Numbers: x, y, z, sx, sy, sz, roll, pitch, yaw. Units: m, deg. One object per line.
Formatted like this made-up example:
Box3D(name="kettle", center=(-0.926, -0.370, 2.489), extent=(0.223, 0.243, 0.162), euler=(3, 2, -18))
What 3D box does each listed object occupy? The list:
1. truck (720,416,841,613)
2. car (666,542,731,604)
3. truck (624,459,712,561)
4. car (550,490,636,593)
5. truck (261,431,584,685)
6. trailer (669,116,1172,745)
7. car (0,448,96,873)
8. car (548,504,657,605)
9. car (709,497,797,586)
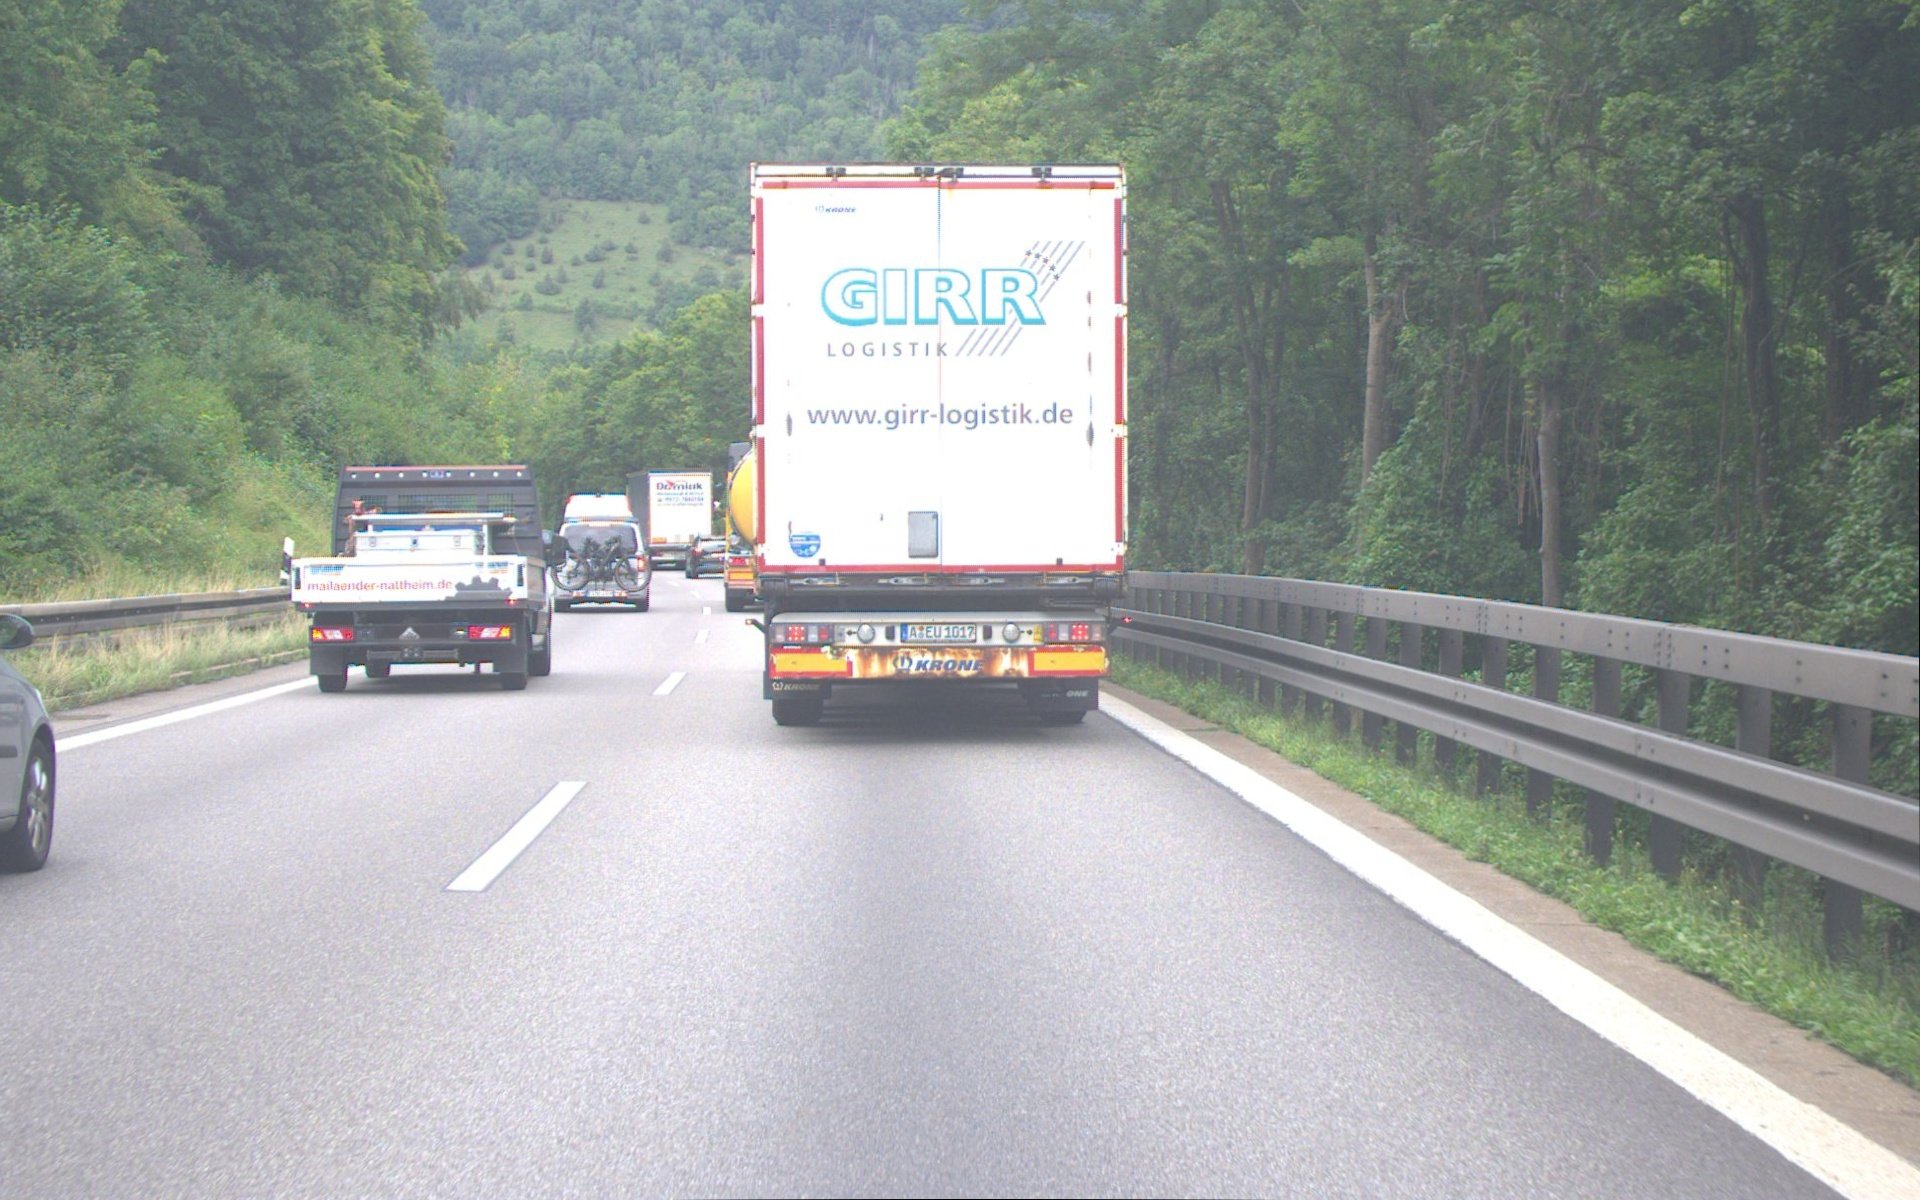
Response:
Box3D(name="truck", center=(-3.645, -1.689, 70.924), extent=(2.233, 3.791, 6.823), euler=(2, 0, -2))
Box3D(name="car", center=(-8.869, -0.921, 116.409), extent=(1.993, 2.007, 4.001), euler=(2, 0, -6))
Box3D(name="truck", center=(-11.856, -3.578, 138.958), extent=(3.068, 3.864, 8.460), euler=(2, 0, -7))
Box3D(name="car", center=(-9.653, -1.532, 90.362), extent=(2.123, 2.589, 5.564), euler=(1, 1, -6))
Box3D(name="truck", center=(-5.351, -0.428, 35.248), extent=(2.349, 2.266, 6.850), euler=(2, 1, -2))
Box3D(name="trailer", center=(-0.377, -1.197, 27.724), extent=(3.133, 4.029, 9.440), euler=(3, 1, -1))
Box3D(name="car", center=(-4.680, 0.240, 13.461), extent=(1.634, 1.721, 4.345), euler=(1, 1, -2))
Box3D(name="car", center=(-7.292, -0.940, 70.532), extent=(2.018, 1.908, 5.564), euler=(2, 1, -4))
Box3D(name="car", center=(-4.934, -1.370, 82.259), extent=(1.993, 2.007, 4.334), euler=(2, 0, -3))
